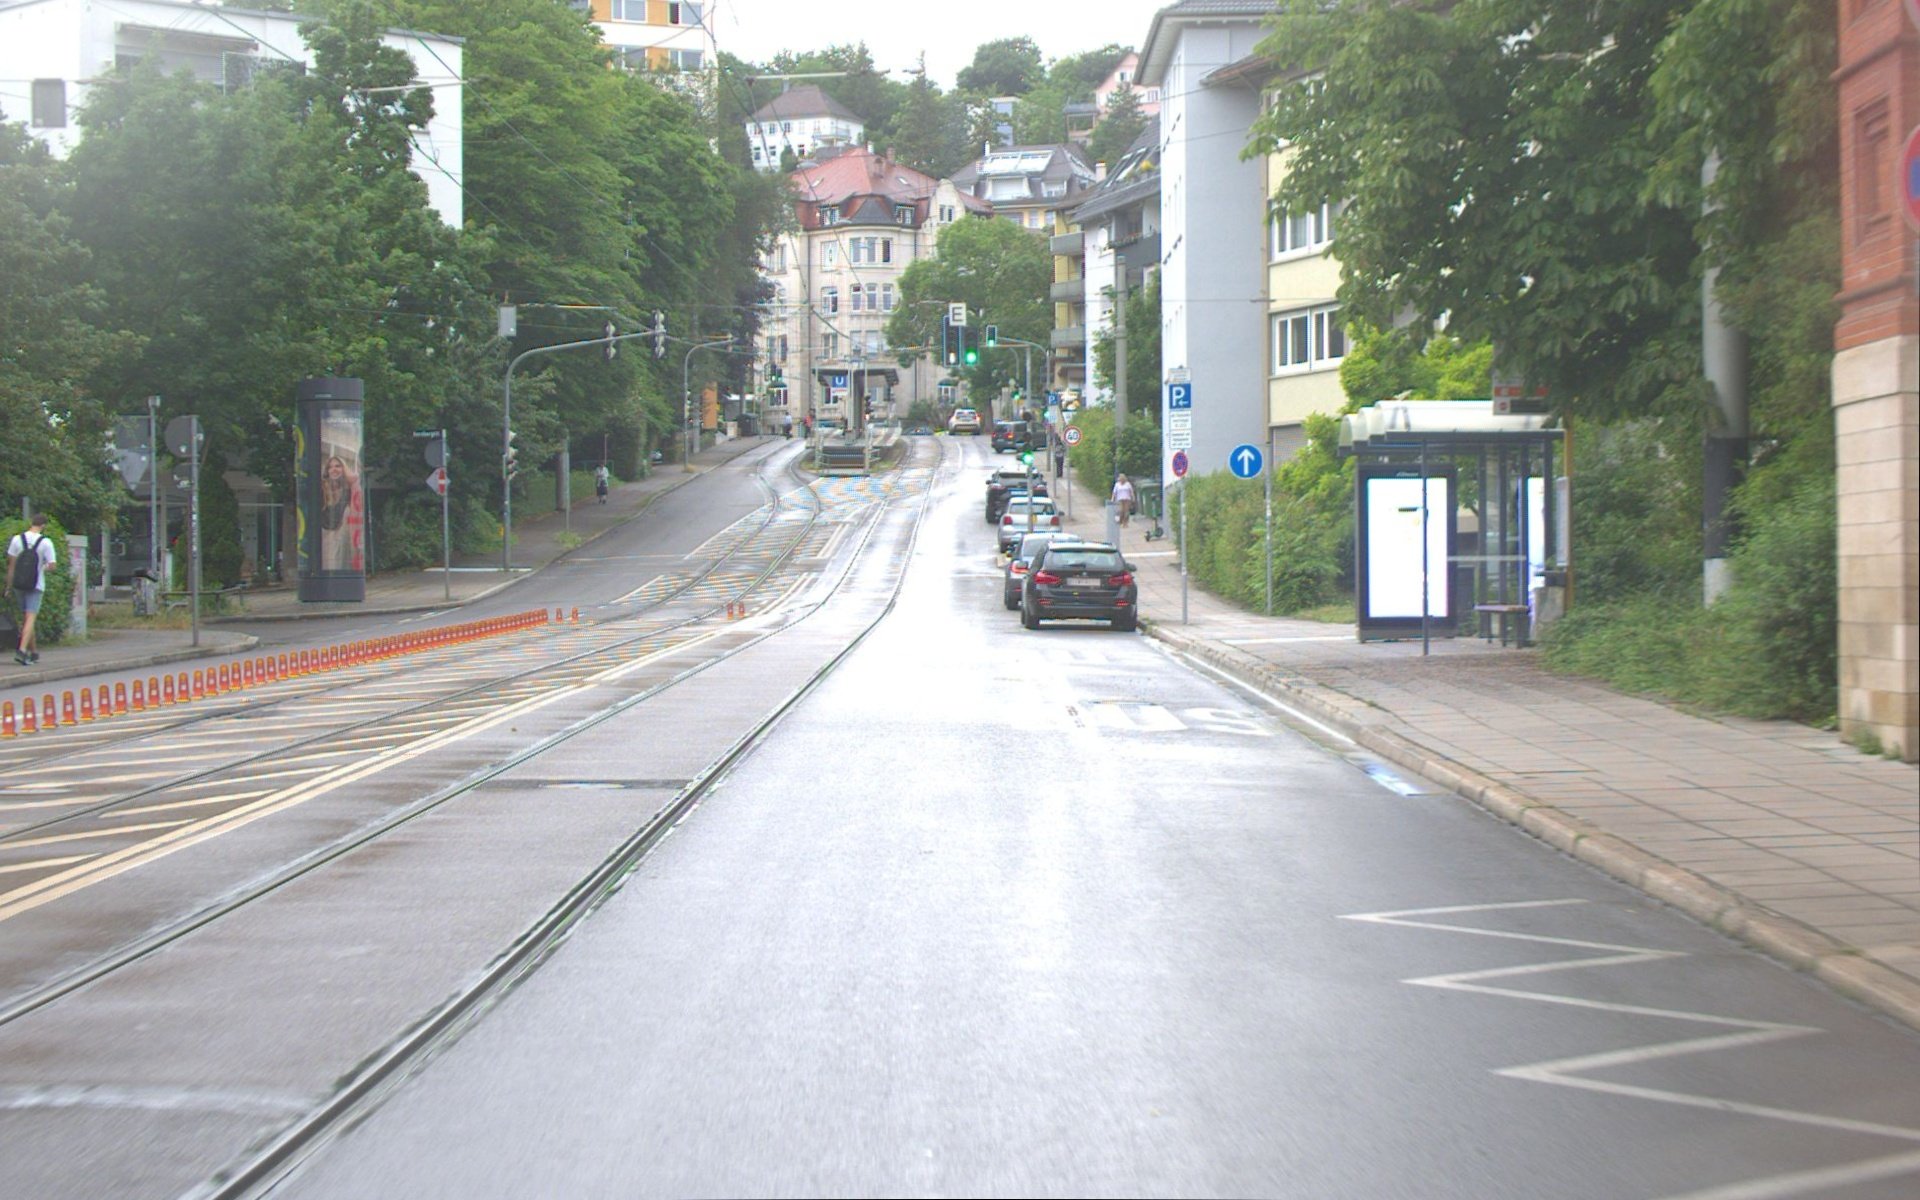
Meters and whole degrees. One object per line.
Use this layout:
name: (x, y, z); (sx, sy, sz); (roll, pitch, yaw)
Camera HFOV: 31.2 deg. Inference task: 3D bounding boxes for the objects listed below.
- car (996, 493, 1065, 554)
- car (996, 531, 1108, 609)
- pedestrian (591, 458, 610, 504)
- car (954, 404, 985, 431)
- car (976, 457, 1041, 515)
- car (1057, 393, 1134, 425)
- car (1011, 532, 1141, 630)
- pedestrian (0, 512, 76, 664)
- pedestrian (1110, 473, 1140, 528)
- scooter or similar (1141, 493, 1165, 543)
car: (1.892, -2.093, 93.226); (1.704, 1.428, 4.102); (2, 4, -1)
car: (1.799, -0.627, 68.388); (1.939, 1.459, 4.207); (1, 1, -2)
pedestrian: (-12.826, -4.248, 122.632); (0.583, 1.594, 0.869); (2, 3, -4)
car: (0.622, -11.953, 224.913); (1.906, 1.636, 4.690); (2, 4, -1)
car: (1.526, -3.648, 109.459); (1.906, 1.636, 4.690); (2, 4, -1)
car: (7.558, -10.644, 191.643); (3.988, 1.640, 1.807); (0, 2, -36)
car: (1.878, -0.346, 56.924); (1.858, 1.482, 4.645); (-2, 1, -1)
pedestrian: (-11.537, -0.156, 42.611); (0.918, 1.839, 1.017); (2, 0, -5)
pedestrian: (4.957, -2.986, 103.242); (0.882, 1.577, 0.801); (-1, 5, 2)
scooter or similar: (5.283, -2.243, 93.938); (0.575, 1.245, 1.610); (1, 6, 5)
